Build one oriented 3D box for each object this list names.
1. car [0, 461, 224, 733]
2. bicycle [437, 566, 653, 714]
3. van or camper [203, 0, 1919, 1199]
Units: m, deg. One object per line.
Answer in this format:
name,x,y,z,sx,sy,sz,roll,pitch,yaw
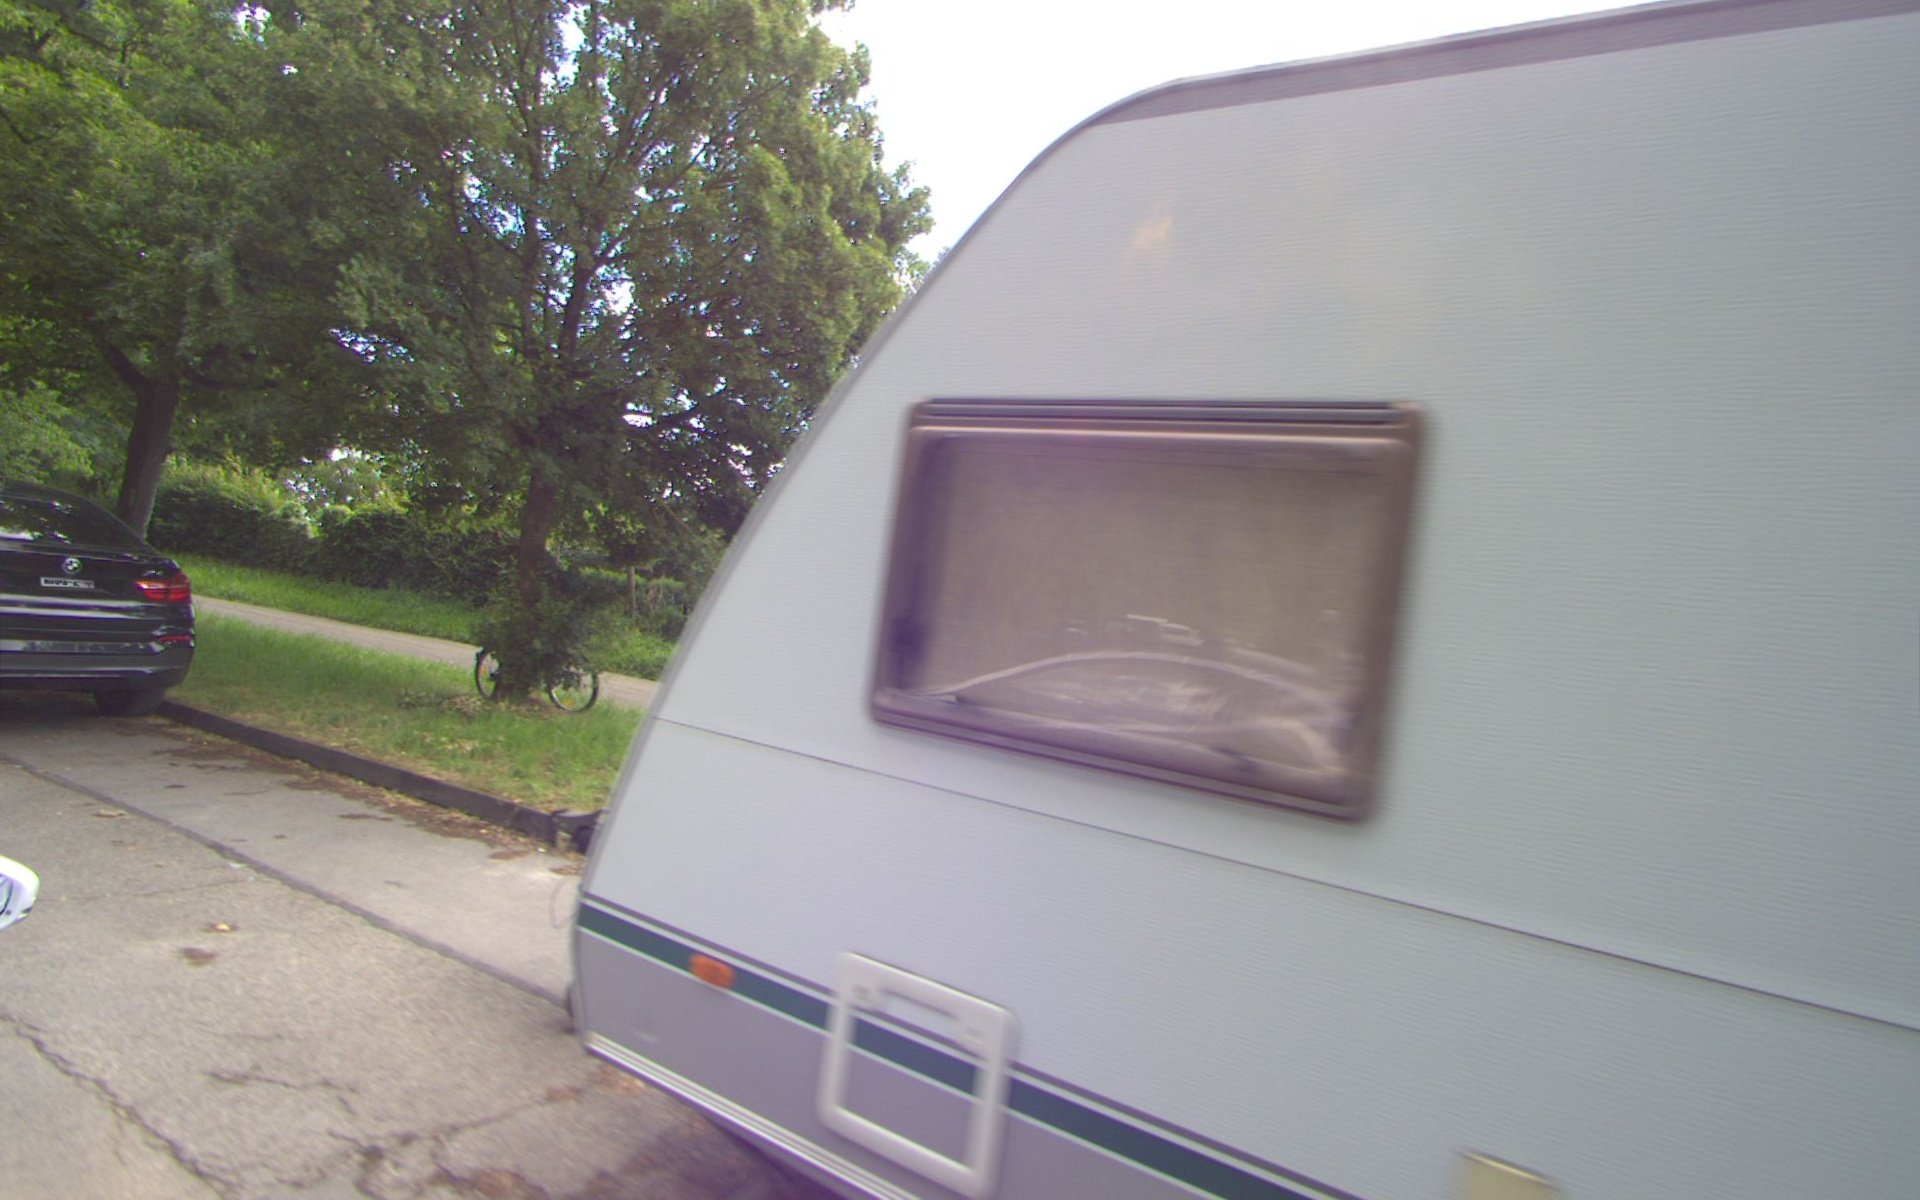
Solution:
car,-7.771,-0.223,7.350,4.450,1.662,1.854,7,-2,26
bicycle,-4.095,0.375,9.881,2.146,1.229,0.536,4,-3,25
van or camper,0.924,0.381,2.491,5.930,2.566,2.166,7,-1,31
